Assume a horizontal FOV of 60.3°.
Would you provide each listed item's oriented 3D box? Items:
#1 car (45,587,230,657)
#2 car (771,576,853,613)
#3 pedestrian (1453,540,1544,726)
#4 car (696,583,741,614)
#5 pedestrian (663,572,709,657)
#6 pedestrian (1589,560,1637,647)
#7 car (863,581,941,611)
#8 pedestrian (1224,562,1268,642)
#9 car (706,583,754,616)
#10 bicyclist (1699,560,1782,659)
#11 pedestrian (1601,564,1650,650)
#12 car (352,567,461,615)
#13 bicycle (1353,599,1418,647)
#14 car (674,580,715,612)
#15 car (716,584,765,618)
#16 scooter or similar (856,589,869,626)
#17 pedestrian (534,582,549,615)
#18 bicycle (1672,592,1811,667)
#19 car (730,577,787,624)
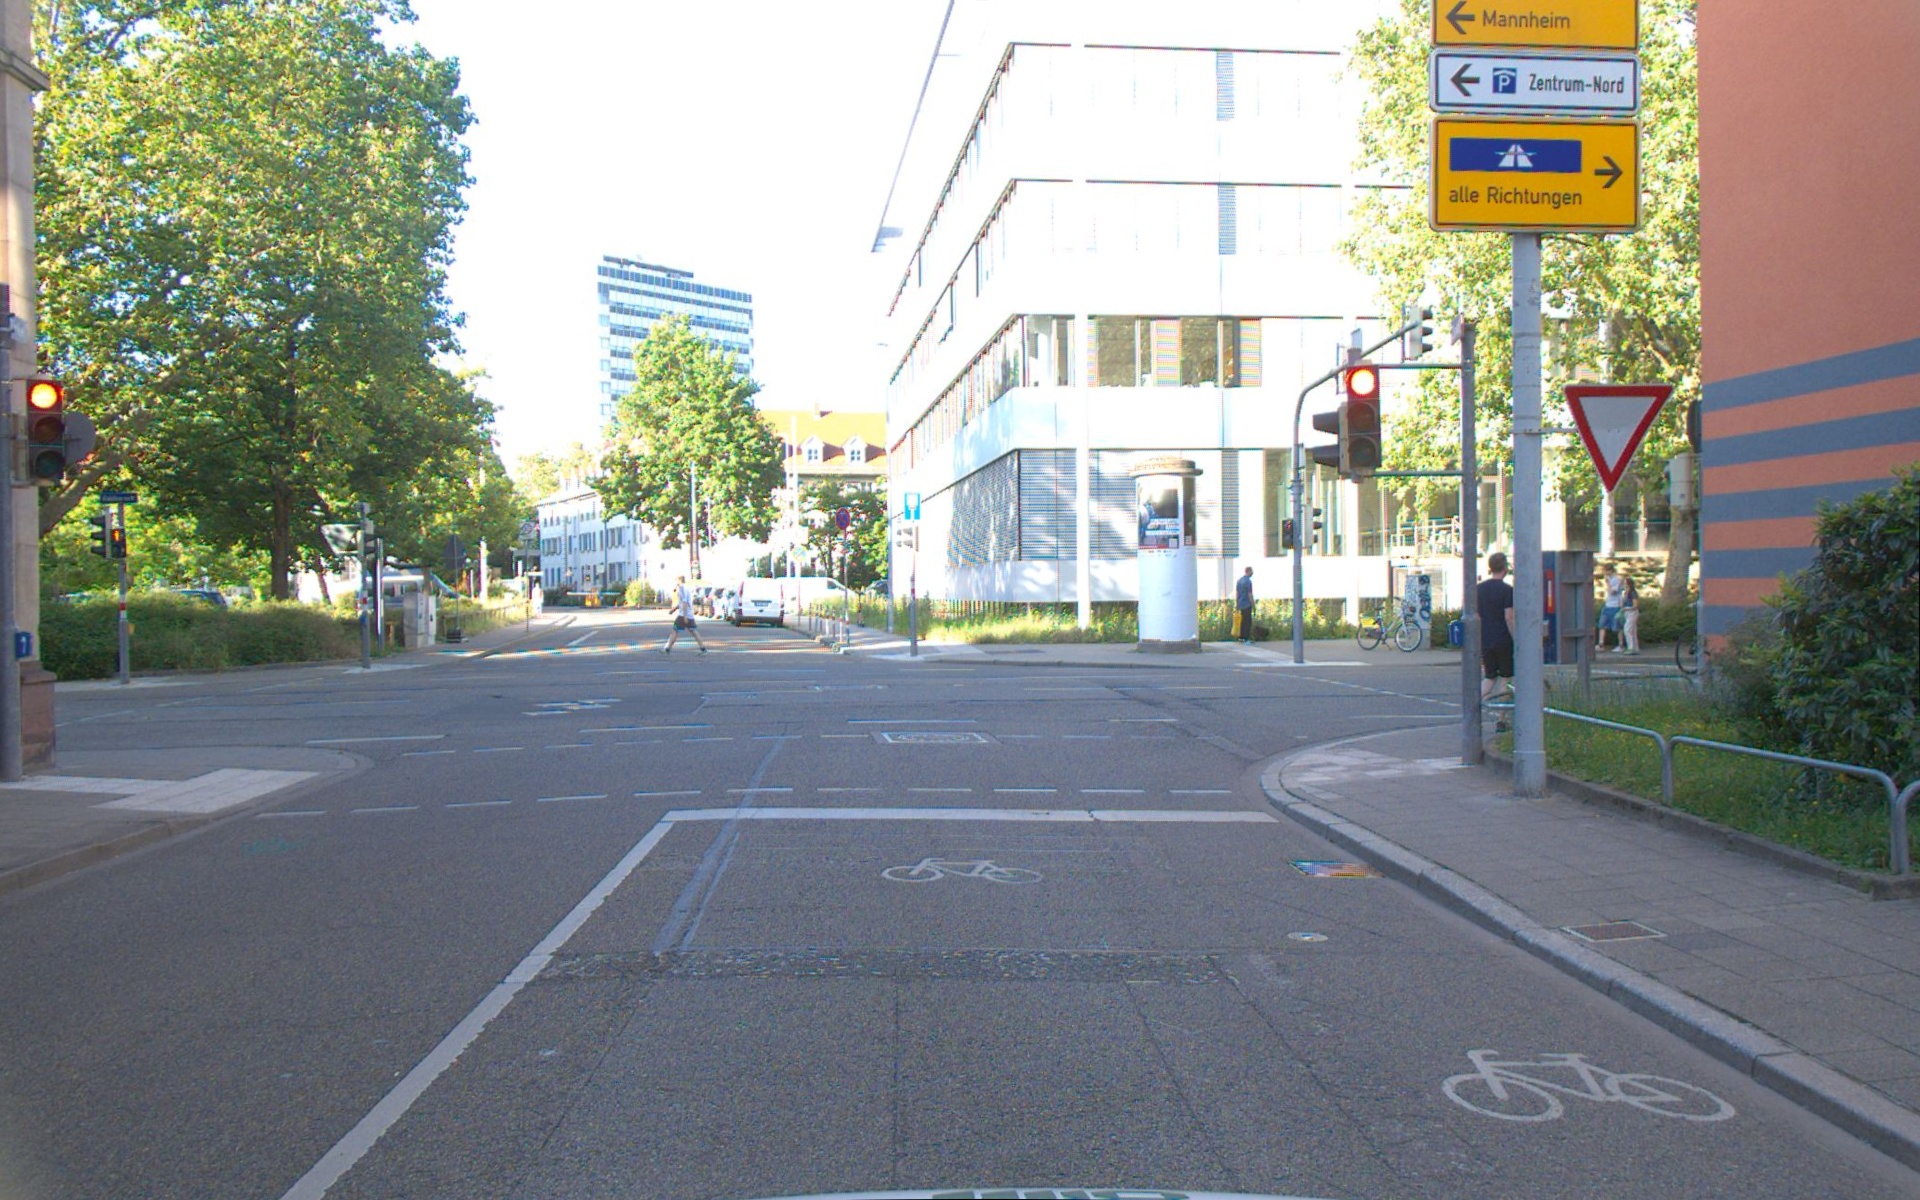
[{"bbox_3d":[-18.366,0.491,37.065,3.347,1.483,1.646,1,0,-11],"label":"car"},{"bbox_3d":[-9.199,-0.357,102.798,4.718,2.196,1.990,1,0,-18],"label":"car"},{"bbox_3d":[5.500,0.330,16.880,0.687,1.842,0.717,1,-1,35],"label":"pedestrian"},{"bbox_3d":[-12.550,-0.054,85.790,1.959,1.525,4.637,1,0,-13],"label":"car"},{"bbox_3d":[-6.259,0.321,37.771,0.895,1.901,0.742,1,-1,0],"label":"pedestrian"},{"bbox_3d":[13.789,0.074,34.940,0.749,1.826,0.648,1,-1,2],"label":"pedestrian"},{"bbox_3d":[-3.674,-0.243,104.724,4.563,1.755,1.991,1,0,-17],"label":"car"},{"bbox_3d":[6.760,0.049,39.079,0.895,1.847,0.762,1,-1,1],"label":"pedestrian"},{"bbox_3d":[-11.307,-0.012,81.084,1.959,1.525,4.272,1,0,-13],"label":"car"},{"bbox_3d":[12.509,0.146,26.535,1.052,1.554,0.593,-1,0,5],"label":"bicyclist"},{"bbox_3d":[13.750,0.150,34.169,0.749,1.749,0.648,1,-1,2],"label":"pedestrian"},{"bbox_3d":[-24.962,-0.386,74.682,4.363,2.049,1.995,1,0,-10],"label":"car"},{"bbox_3d":[9.324,0.504,36.283,0.376,1.026,1.410,-1,0,-42],"label":"bicycle"},{"bbox_3d":[-15.382,-0.215,95.605,1.960,1.755,4.635,1,0,-14],"label":"car"},{"bbox_3d":[-10.193,0.056,76.653,1.958,1.525,4.639,1,0,-11],"label":"car"},{"bbox_3d":[-3.427,0.264,58.236,0.429,1.278,1.418,-1,0,-5],"label":"scooter or similar"},{"bbox_3d":[-20.973,-0.062,82.832,0.688,1.614,0.634,1,-1,-16],"label":"pedestrian"},{"bbox_3d":[12.521,0.467,26.528,1.922,1.172,0.593,-1,0,5],"label":"bicycle"},{"bbox_3d":[-7.915,0.014,64.703,1.957,1.755,4.641,1,0,-10],"label":"car"}]
